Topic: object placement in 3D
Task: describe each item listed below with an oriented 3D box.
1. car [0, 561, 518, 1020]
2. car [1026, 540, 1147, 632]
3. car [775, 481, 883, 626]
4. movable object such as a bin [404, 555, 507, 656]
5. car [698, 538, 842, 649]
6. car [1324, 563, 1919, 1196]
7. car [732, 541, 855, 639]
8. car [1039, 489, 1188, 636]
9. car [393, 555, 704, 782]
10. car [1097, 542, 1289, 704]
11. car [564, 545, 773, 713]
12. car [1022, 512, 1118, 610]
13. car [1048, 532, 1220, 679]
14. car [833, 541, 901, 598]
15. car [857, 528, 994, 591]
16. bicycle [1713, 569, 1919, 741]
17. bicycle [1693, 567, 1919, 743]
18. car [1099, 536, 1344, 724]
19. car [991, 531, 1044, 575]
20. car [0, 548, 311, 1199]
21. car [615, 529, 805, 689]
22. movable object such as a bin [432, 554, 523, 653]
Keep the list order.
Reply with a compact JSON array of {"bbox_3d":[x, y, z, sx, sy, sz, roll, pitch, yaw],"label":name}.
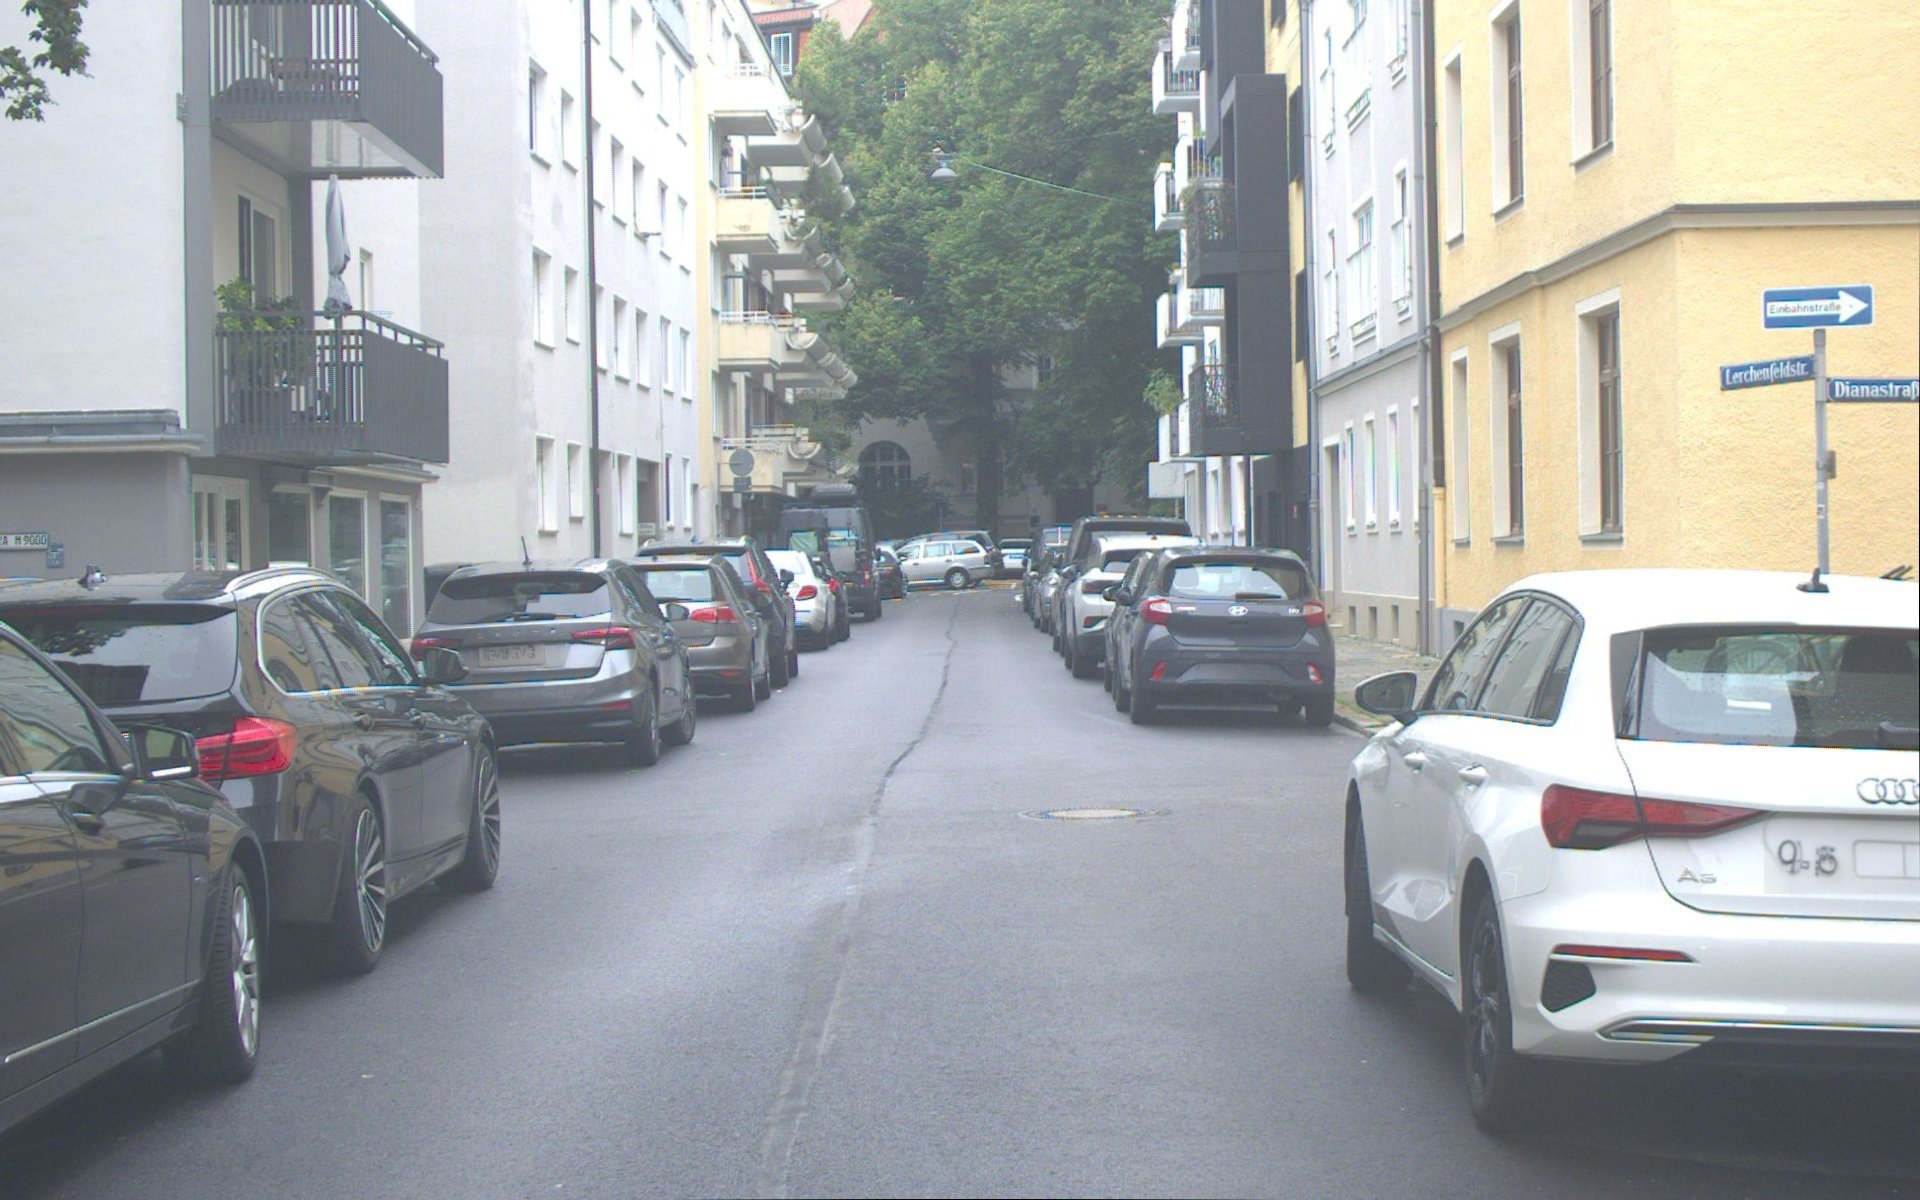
[{"bbox_3d":[-2.955,0.601,13.215,1.856,1.403,4.383,-2,1,1],"label":"car"},{"bbox_3d":[2.117,-0.267,58.560,1.829,1.449,4.416,2,1,0],"label":"car"},{"bbox_3d":[-2.679,-0.980,71.430,1.936,2.792,4.533,-3,1,0],"label":"car"},{"bbox_3d":[-7.023,0.073,47.896,1.166,1.332,1.025,-3,1,3],"label":"movable object such as a bin"},{"bbox_3d":[-2.801,-0.130,51.513,1.777,1.482,4.519,-3,1,1],"label":"car"},{"bbox_3d":[2.177,0.627,9.903,1.819,1.403,3.952,0,1,0],"label":"car"},{"bbox_3d":[-2.711,-0.197,56.805,1.777,1.448,4.046,-3,1,0],"label":"car"},{"bbox_3d":[2.076,-0.543,47.588,1.829,1.903,4.416,1,1,0],"label":"car"},{"bbox_3d":[-2.891,0.432,24.887,1.693,1.437,3.942,-2,1,1],"label":"car"},{"bbox_3d":[2.277,0.188,34.394,1.664,1.464,3.819,2,1,1],"label":"car"},{"bbox_3d":[-2.714,0.227,32.736,1.693,1.437,3.978,-2,1,-1],"label":"car"},{"bbox_3d":[2.348,-0.856,74.365,1.829,1.992,4.416,2,1,0],"label":"car"},{"bbox_3d":[1.973,0.017,40.011,1.682,1.562,4.416,2,1,-1],"label":"car"},{"bbox_3d":[-2.412,-0.814,89.972,1.642,1.379,3.483,-3,1,0],"label":"car"},{"bbox_3d":[-1.005,-1.193,99.970,3.885,1.579,1.648,-3,1,-1],"label":"car"},{"bbox_3d":[6.201,0.375,24.156,1.713,1.135,0.374,-2,3,0],"label":"bicycle"},{"bbox_3d":[6.228,0.386,24.635,1.808,1.170,0.505,-2,3,-2],"label":"bicycle"},{"bbox_3d":[2.217,0.203,30.141,1.751,1.464,4.343,2,1,0],"label":"car"},{"bbox_3d":[1.929,-1.621,117.014,1.642,1.379,3.746,-3,1,0],"label":"car"},{"bbox_3d":[-2.877,0.662,8.012,1.766,1.478,4.424,-2,1,1],"label":"car"},{"bbox_3d":[-2.731,0.051,38.429,1.777,1.623,4.415,-2,1,0],"label":"car"},{"bbox_3d":[-6.870,0.047,48.972,1.047,1.332,0.993,-3,1,3],"label":"movable object such as a bin"}]
